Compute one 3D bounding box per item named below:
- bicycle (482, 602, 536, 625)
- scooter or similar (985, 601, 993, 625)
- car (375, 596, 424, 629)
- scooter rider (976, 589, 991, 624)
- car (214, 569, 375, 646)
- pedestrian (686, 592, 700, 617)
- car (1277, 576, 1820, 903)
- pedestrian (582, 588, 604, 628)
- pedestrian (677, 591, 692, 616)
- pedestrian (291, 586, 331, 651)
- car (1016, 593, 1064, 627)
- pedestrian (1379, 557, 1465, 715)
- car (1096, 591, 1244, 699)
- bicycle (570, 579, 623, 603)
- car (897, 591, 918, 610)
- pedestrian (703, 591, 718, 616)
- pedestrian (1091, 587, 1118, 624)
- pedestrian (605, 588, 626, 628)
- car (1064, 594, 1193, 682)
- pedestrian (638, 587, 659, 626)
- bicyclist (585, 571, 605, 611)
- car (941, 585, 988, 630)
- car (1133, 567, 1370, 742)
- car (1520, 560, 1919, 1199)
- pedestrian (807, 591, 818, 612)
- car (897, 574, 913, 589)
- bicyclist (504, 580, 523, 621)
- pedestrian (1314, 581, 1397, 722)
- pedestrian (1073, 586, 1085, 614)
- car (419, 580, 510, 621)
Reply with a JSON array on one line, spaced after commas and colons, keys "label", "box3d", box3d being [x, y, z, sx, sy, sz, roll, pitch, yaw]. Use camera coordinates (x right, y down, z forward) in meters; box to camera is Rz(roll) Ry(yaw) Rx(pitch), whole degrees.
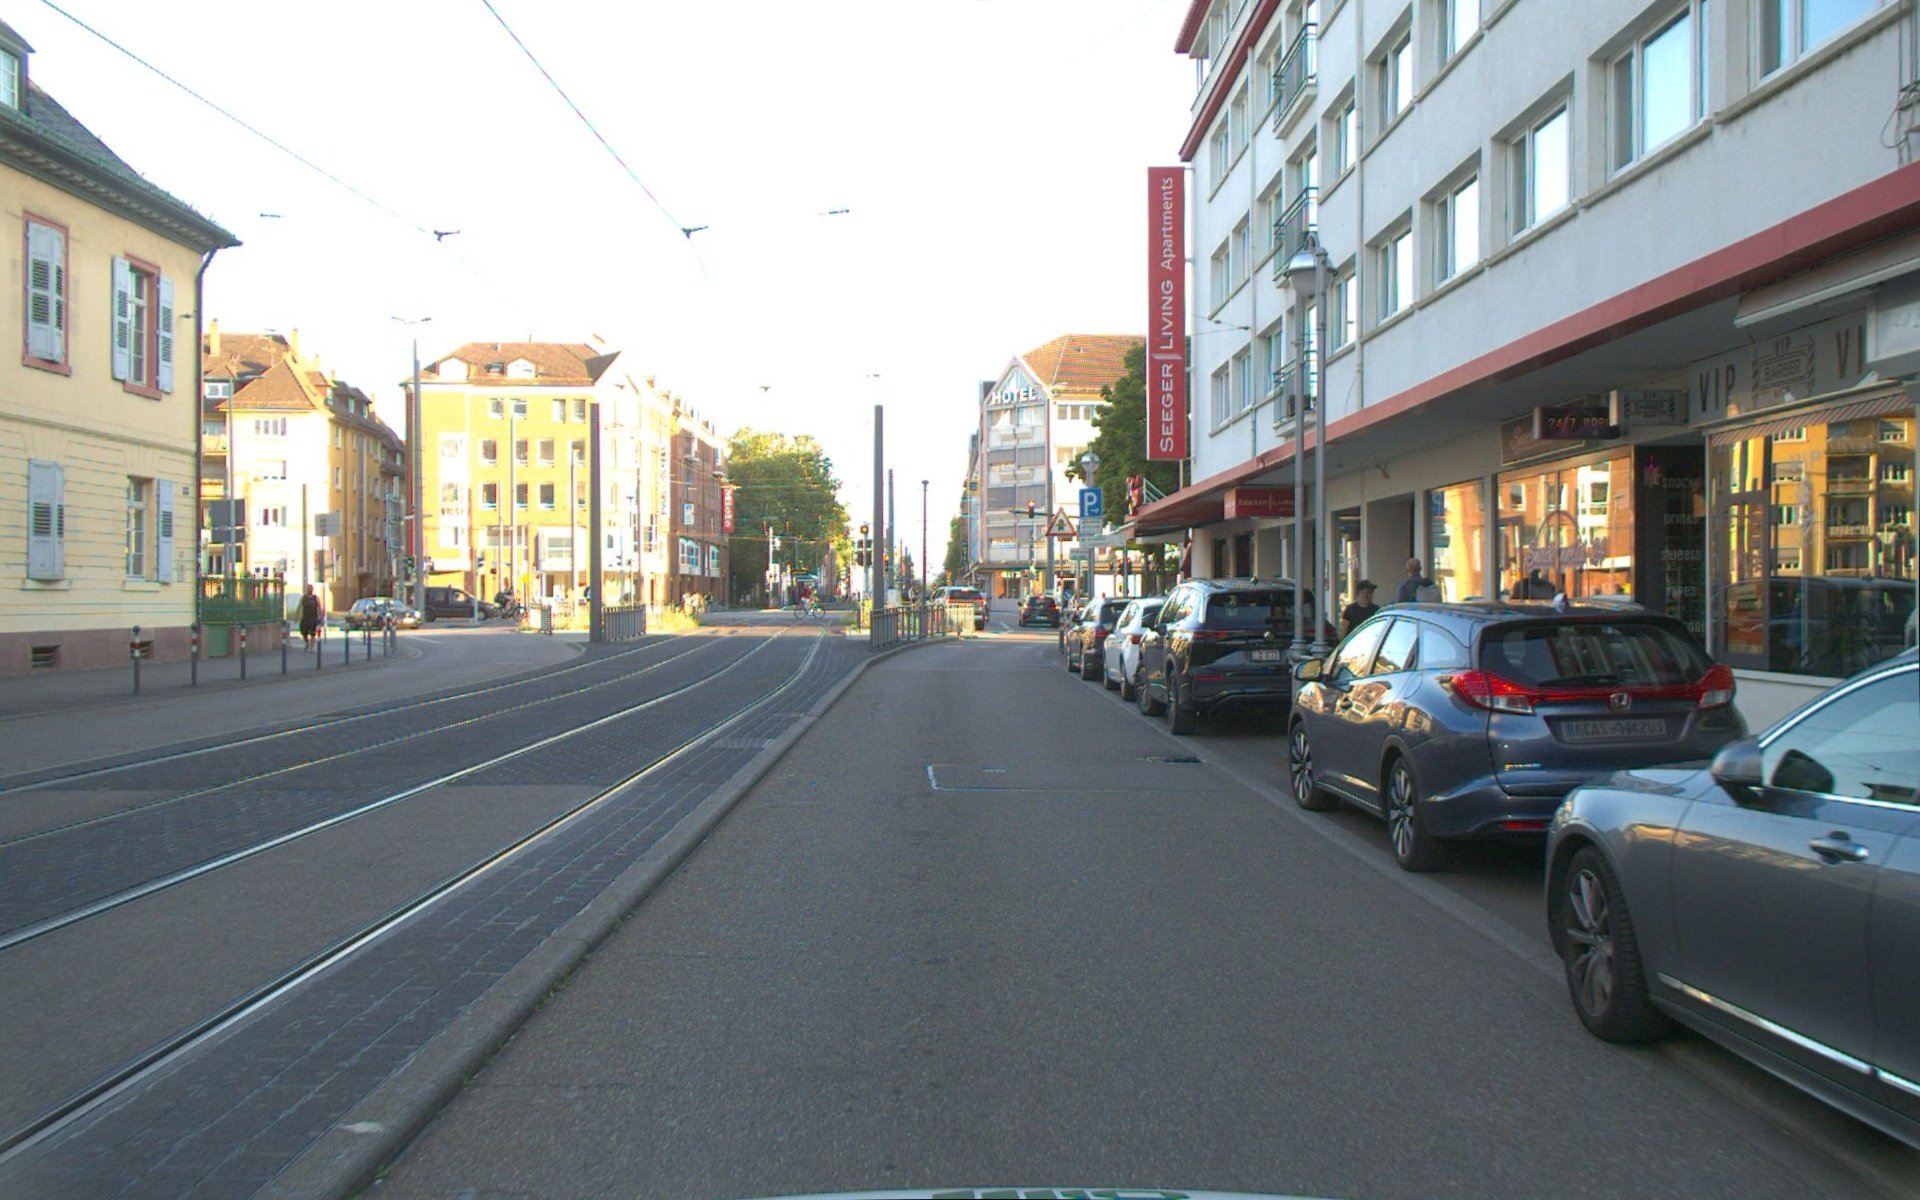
[{"label": "bicycle", "box3d": [-22.873, 0.701, 83.981, 2.602, 1.119, 0.433, 2, -1, -21]}, {"label": "scooter or similar", "box3d": [1.381, 0.628, 79.569, 0.273, 1.110, 1.258, 1, 0, 5]}, {"label": "car", "box3d": [-24.995, 0.539, 73.712, 1.743, 1.400, 4.191, 0, 0, -24]}, {"label": "scooter rider", "box3d": [1.132, 0.312, 79.571, 0.648, 1.676, 0.661, 1, -1, 7]}, {"label": "car", "box3d": [-18.326, 0.179, 45.712, 3.924, 2.049, 1.991, -1, 0, -17]}, {"label": "pedestrian", "box3d": [-22.344, 0.340, 138.400, 1.071, 2.049, 0.908, 1, -1, -3]}, {"label": "car", "box3d": [3.289, 0.665, 10.242, 1.745, 1.549, 4.356, 2, 0, -1]}, {"label": "pedestrian", "box3d": [-13.045, 0.291, 58.762, 0.650, 1.399, 0.651, 0, 0, -4]}, {"label": "pedestrian", "box3d": [-22.805, 0.298, 137.089, 1.071, 2.049, 0.908, 1, -1, -3]}, {"label": "pedestrian", "box3d": [-15.713, 0.449, 40.073, 0.705, 1.563, 0.718, -1, 0, -5]}, {"label": "car", "box3d": [3.576, 0.422, 74.560, 1.729, 1.465, 3.997, 0, 0, -3]}, {"label": "pedestrian", "box3d": [5.756, 0.437, 20.630, 0.759, 1.913, 0.934, -1, 0, -3]}, {"label": "car", "box3d": [3.067, 0.633, 24.869, 1.617, 1.445, 4.190, 1, 0, -1]}, {"label": "bicycle", "box3d": [-18.570, -0.458, 84.534, 2.602, 1.119, 0.433, 2, -1, -21]}, {"label": "car", "box3d": [-4.938, 0.065, 154.816, 1.774, 1.777, 3.715, 1, 0, 0]}, {"label": "pedestrian", "box3d": [-21.337, 0.297, 141.586, 1.071, 2.049, 1.162, 1, -1, -3]}, {"label": "pedestrian", "box3d": [6.821, 0.249, 77.988, 0.813, 1.714, 1.040, 2, -1, -25]}, {"label": "pedestrian", "box3d": [-12.251, 0.276, 58.838, 0.650, 1.399, 0.651, 0, 0, -4]}, {"label": "car", "box3d": [2.998, 0.653, 30.286, 1.753, 1.437, 4.686, 2, 0, -1]}, {"label": "pedestrian", "box3d": [-11.097, 0.228, 58.908, 0.650, 1.399, 0.651, 0, 0, -4]}, {"label": "bicyclist", "box3d": [-18.648, -0.461, 84.531, 0.848, 2.049, 0.642, 2, -1, -22]}, {"label": "car", "box3d": [0.188, 0.337, 66.023, 1.797, 1.665, 4.090, -1, -1, 0]}, {"label": "car", "box3d": [3.193, 0.560, 18.979, 1.818, 1.730, 4.417, 1, 0, -1]}, {"label": "car", "box3d": [3.170, 0.706, 4.123, 1.755, 1.560, 4.855, 2, 0, -2]}, {"label": "pedestrian", "box3d": [-11.826, 0.101, 132.695, 0.788, 1.693, 0.703, 1, -1, 2]}, {"label": "car", "box3d": [-7.348, -2.493, 221.235, 1.953, 1.934, 4.000, 1, 0, 0]}, {"label": "bicyclist", "box3d": [-22.687, 0.024, 84.066, 0.848, 2.049, 0.643, 2, -1, -20]}, {"label": "pedestrian", "box3d": [4.613, 0.579, 19.330, 0.718, 1.601, 0.966, 0, 0, -1]}, {"label": "pedestrian", "box3d": [7.808, -0.018, 108.630, 0.731, 1.809, 0.800, 1, -1, 1]}, {"label": "car", "box3d": [-26.153, 0.014, 87.446, 4.481, 2.072, 1.993, 0, 0, -13]}]
